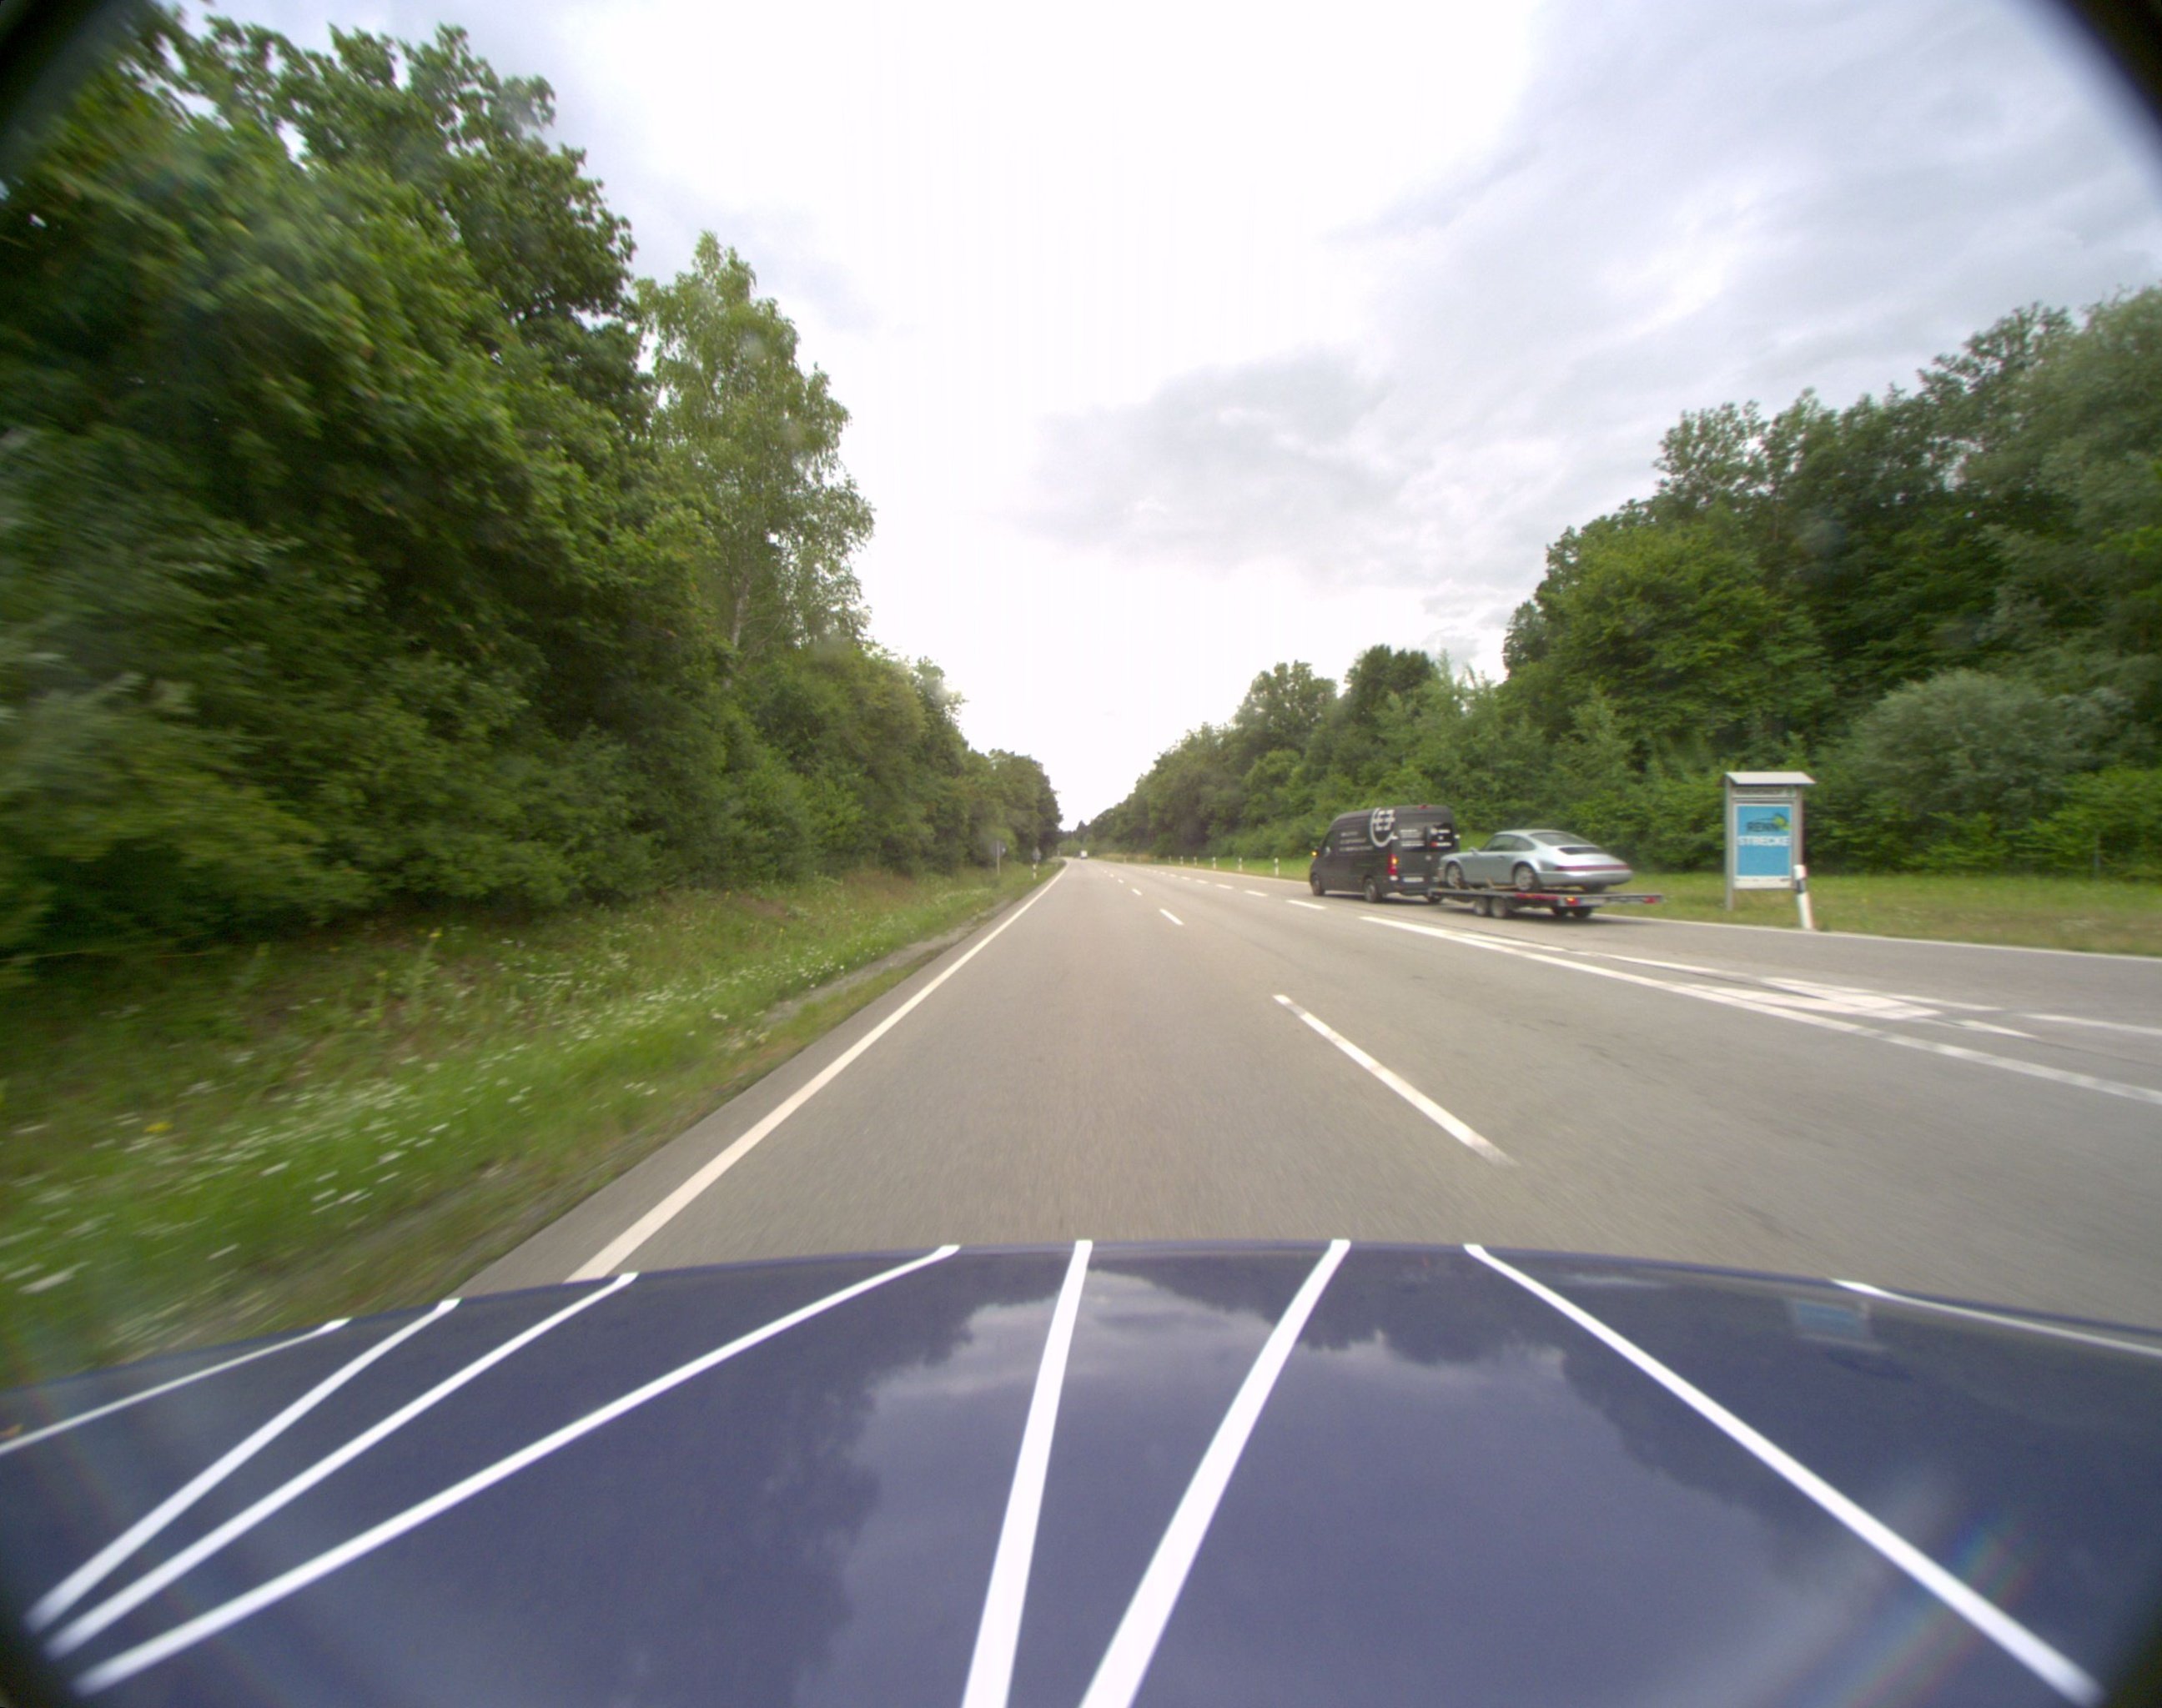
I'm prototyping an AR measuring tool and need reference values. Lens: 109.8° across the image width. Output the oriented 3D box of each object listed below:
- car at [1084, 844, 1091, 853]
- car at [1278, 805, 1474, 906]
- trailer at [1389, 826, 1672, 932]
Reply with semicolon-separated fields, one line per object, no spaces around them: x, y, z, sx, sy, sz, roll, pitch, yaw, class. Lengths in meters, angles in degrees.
2.181;-1.723;241.533;1.999;2.681;5.976;-2;1;0;car
8.372;0.010;22.677;2.263;2.515;7.158;-1;0;-7;car
9.134;0.416;16.272;2.061;1.781;5.685;-2;1;-9;trailer
